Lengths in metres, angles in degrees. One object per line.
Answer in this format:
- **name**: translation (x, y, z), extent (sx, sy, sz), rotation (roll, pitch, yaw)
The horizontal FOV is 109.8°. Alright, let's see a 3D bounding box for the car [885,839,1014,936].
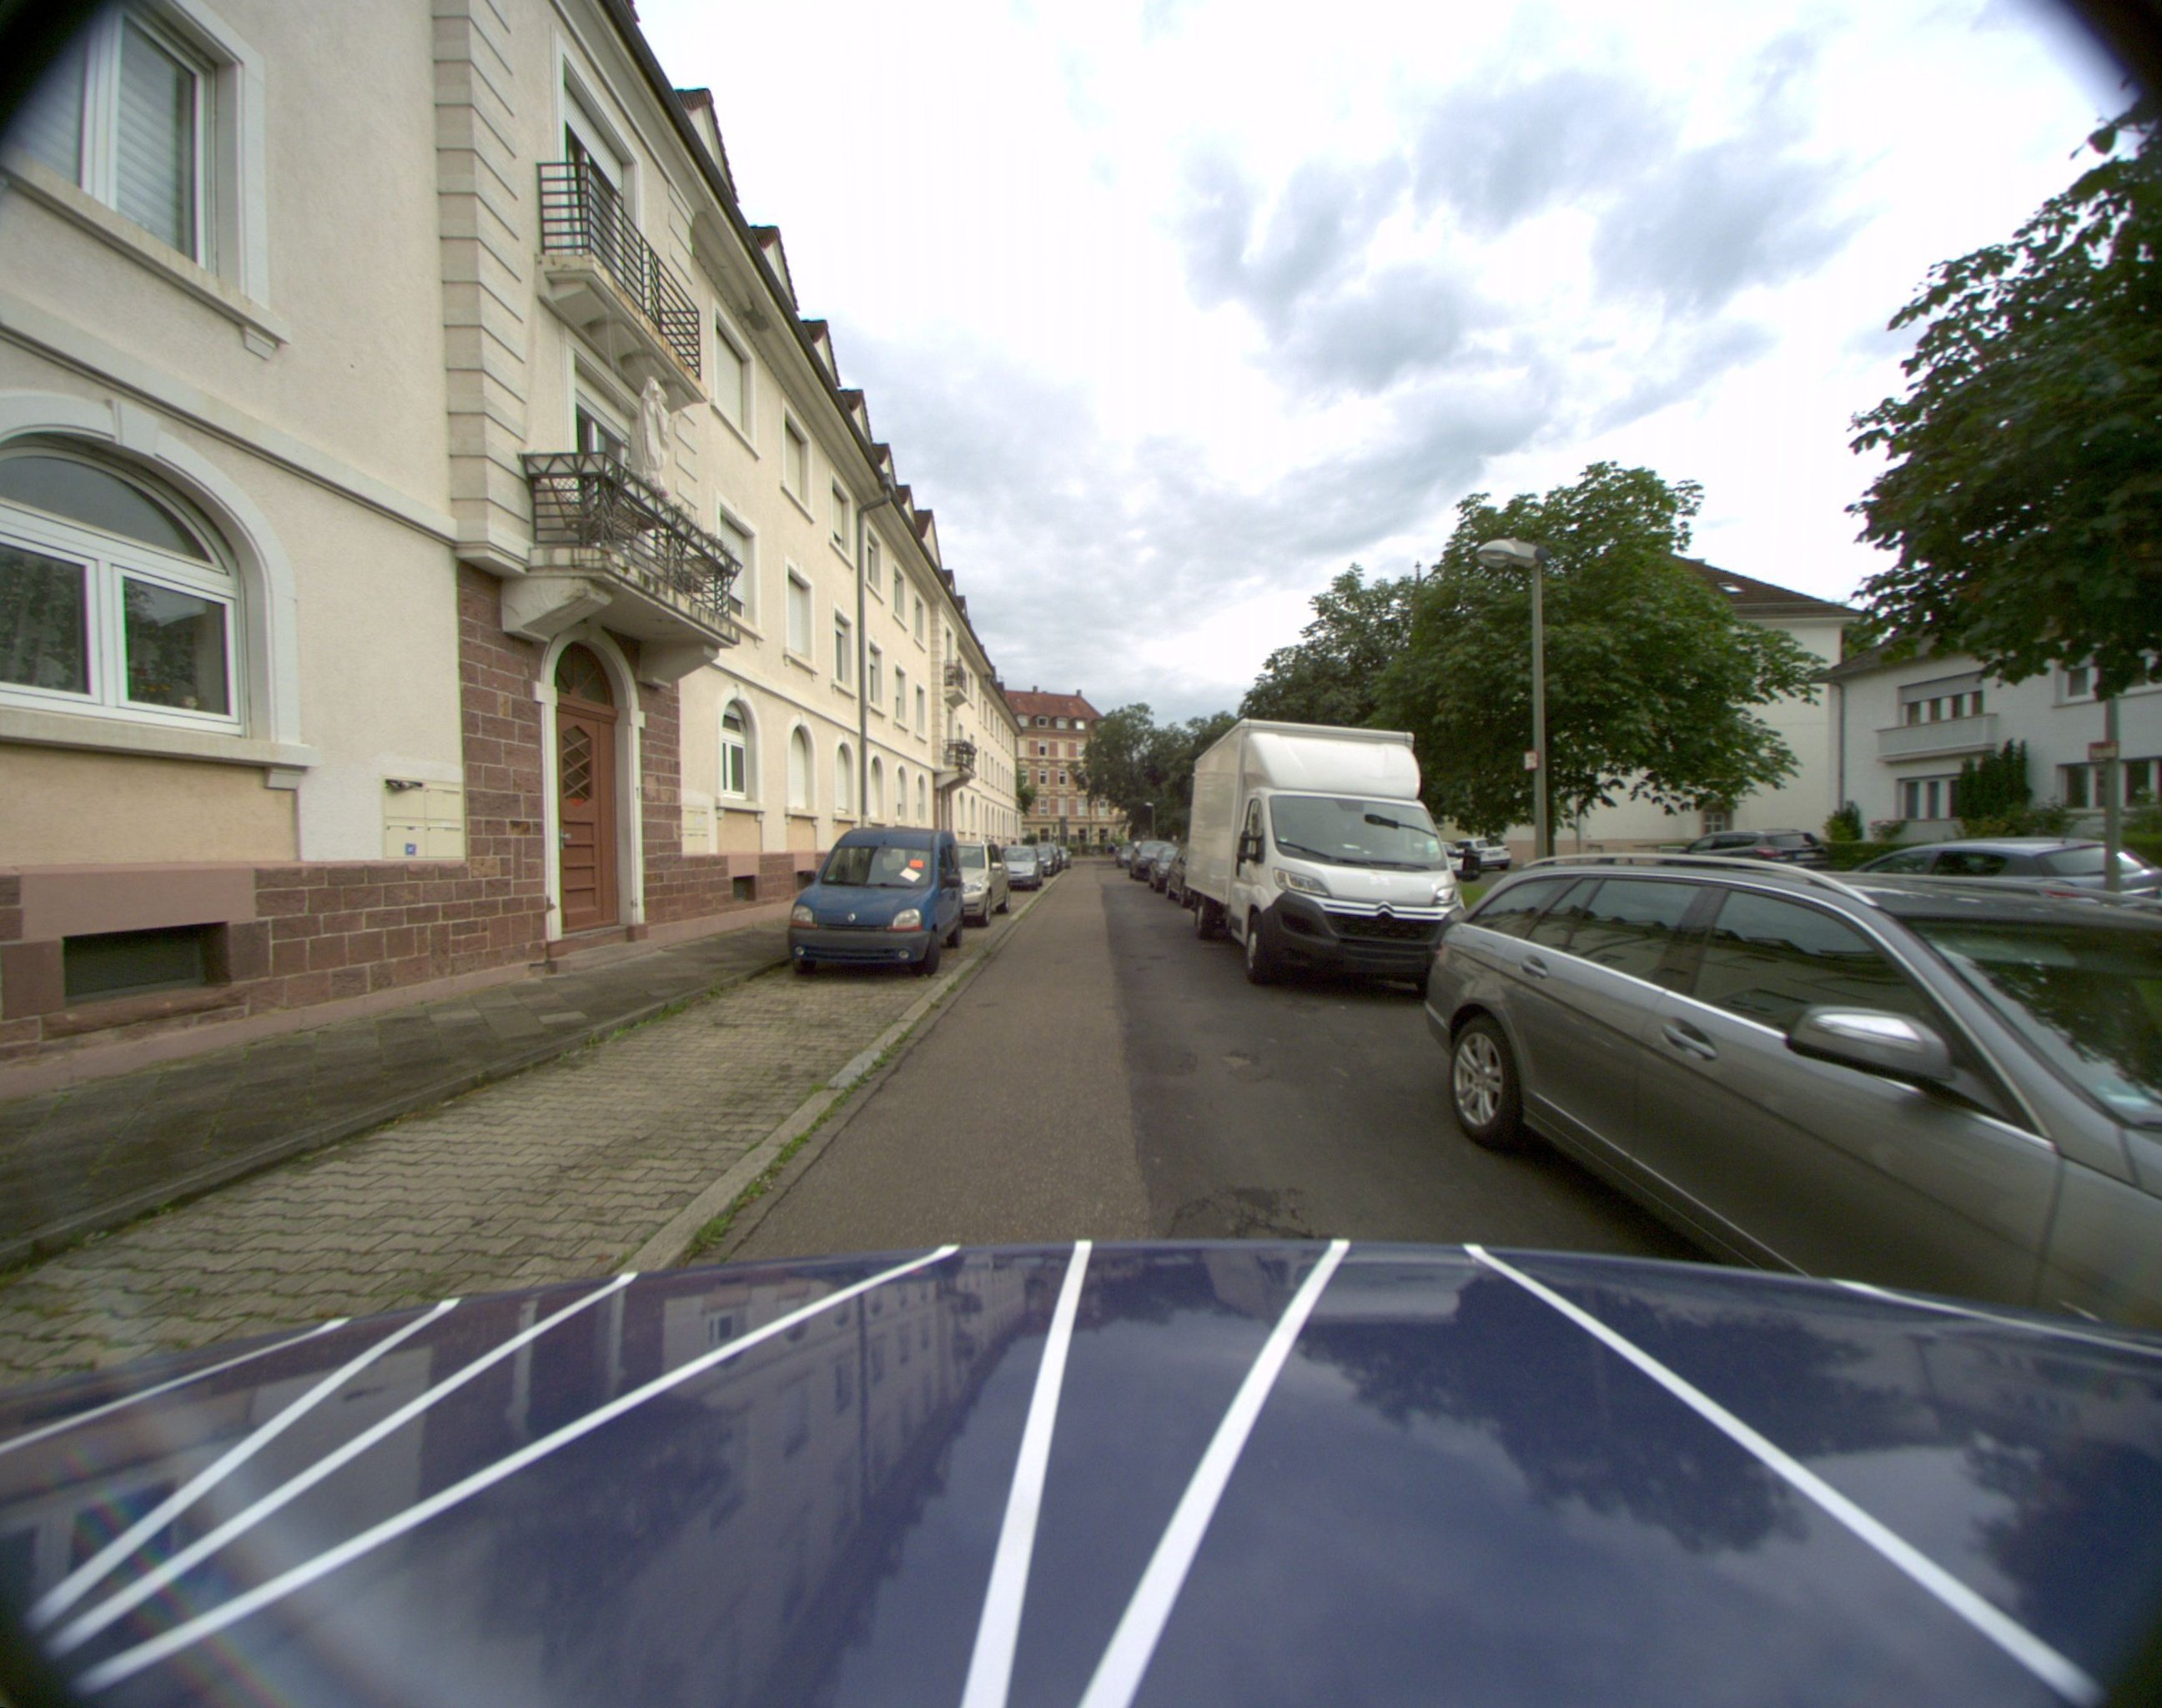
- **car**: translation (-2.514, 0.561, 15.507), extent (1.775, 1.628, 4.128), rotation (3, 1, 1)

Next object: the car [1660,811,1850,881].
- **car**: translation (19.120, -0.250, 21.832), extent (1.804, 1.664, 4.100), rotation (-4, 1, 1)

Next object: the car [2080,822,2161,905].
- **car**: translation (18.805, 0.166, 11.656), extent (1.804, 1.347, 3.941), rotation (-2, 1, 1)

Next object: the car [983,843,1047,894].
- **car**: translation (-2.155, 0.419, 25.672), extent (1.686, 1.505, 3.954), rotation (3, 1, 1)

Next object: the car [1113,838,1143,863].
- **car**: translation (3.068, -0.285, 50.660), extent (1.643, 1.570, 4.208), rotation (-1, 1, -1)

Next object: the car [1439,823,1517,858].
- **car**: translation (19.498, -0.671, 37.492), extent (1.804, 1.598, 4.006), rotation (-2, 1, 1)

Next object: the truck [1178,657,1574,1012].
- **truck**: translation (3.024, -0.222, 10.211), extent (2.444, 2.940, 7.111), rotation (4, 1, 1)

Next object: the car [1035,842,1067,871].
- **car**: translation (-1.687, 0.110, 44.509), extent (1.609, 1.576, 4.009), rotation (-1, 1, 1)

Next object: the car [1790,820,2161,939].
- **car**: translation (13.659, 0.274, 11.703), extent (1.804, 1.480, 4.006), rotation (-2, 1, 1)

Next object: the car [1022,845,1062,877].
- **car**: translation (-1.827, 0.299, 36.792), extent (1.609, 1.392, 4.010), rotation (3, 1, 1)

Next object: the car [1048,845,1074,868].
- **car**: translation (-1.233, 0.135, 48.846), extent (1.455, 1.388, 4.010), rotation (3, 1, 1)

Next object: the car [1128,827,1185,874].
- **car**: translation (3.052, -0.169, 31.428), extent (1.785, 1.698, 4.314), rotation (3, 1, -1)

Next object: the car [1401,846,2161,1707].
- **car**: translation (2.753, 0.767, 2.246), extent (1.715, 1.450, 4.447), rotation (4, 1, 1)

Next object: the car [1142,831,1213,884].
- **car**: translation (2.951, 0.066, 24.044), extent (1.643, 1.505, 4.150), rotation (-1, 1, -1)

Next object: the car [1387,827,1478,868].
- **car**: translation (13.890, -0.289, 30.288), extent (1.804, 1.480, 4.006), rotation (-2, 1, 1)

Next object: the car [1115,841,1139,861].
- **car**: translation (3.846, -0.303, 64.459), extent (1.643, 1.570, 4.208), rotation (3, 1, -1)

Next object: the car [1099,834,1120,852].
- **car**: translation (2.600, -1.004, 70.958), extent (1.643, 1.570, 4.208), rotation (3, 1, -1)

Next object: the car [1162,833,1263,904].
- **car**: translation (3.120, 0.288, 18.799), extent (1.643, 1.505, 4.150), rotation (3, 1, -1)

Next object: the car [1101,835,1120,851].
- **car**: translation (2.941, -1.123, 77.120), extent (1.643, 1.570, 4.208), rotation (3, 1, -1)

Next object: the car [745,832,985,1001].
- **car**: translation (-2.588, 0.627, 10.225), extent (1.942, 1.775, 4.185), rotation (1, 1, 1)
